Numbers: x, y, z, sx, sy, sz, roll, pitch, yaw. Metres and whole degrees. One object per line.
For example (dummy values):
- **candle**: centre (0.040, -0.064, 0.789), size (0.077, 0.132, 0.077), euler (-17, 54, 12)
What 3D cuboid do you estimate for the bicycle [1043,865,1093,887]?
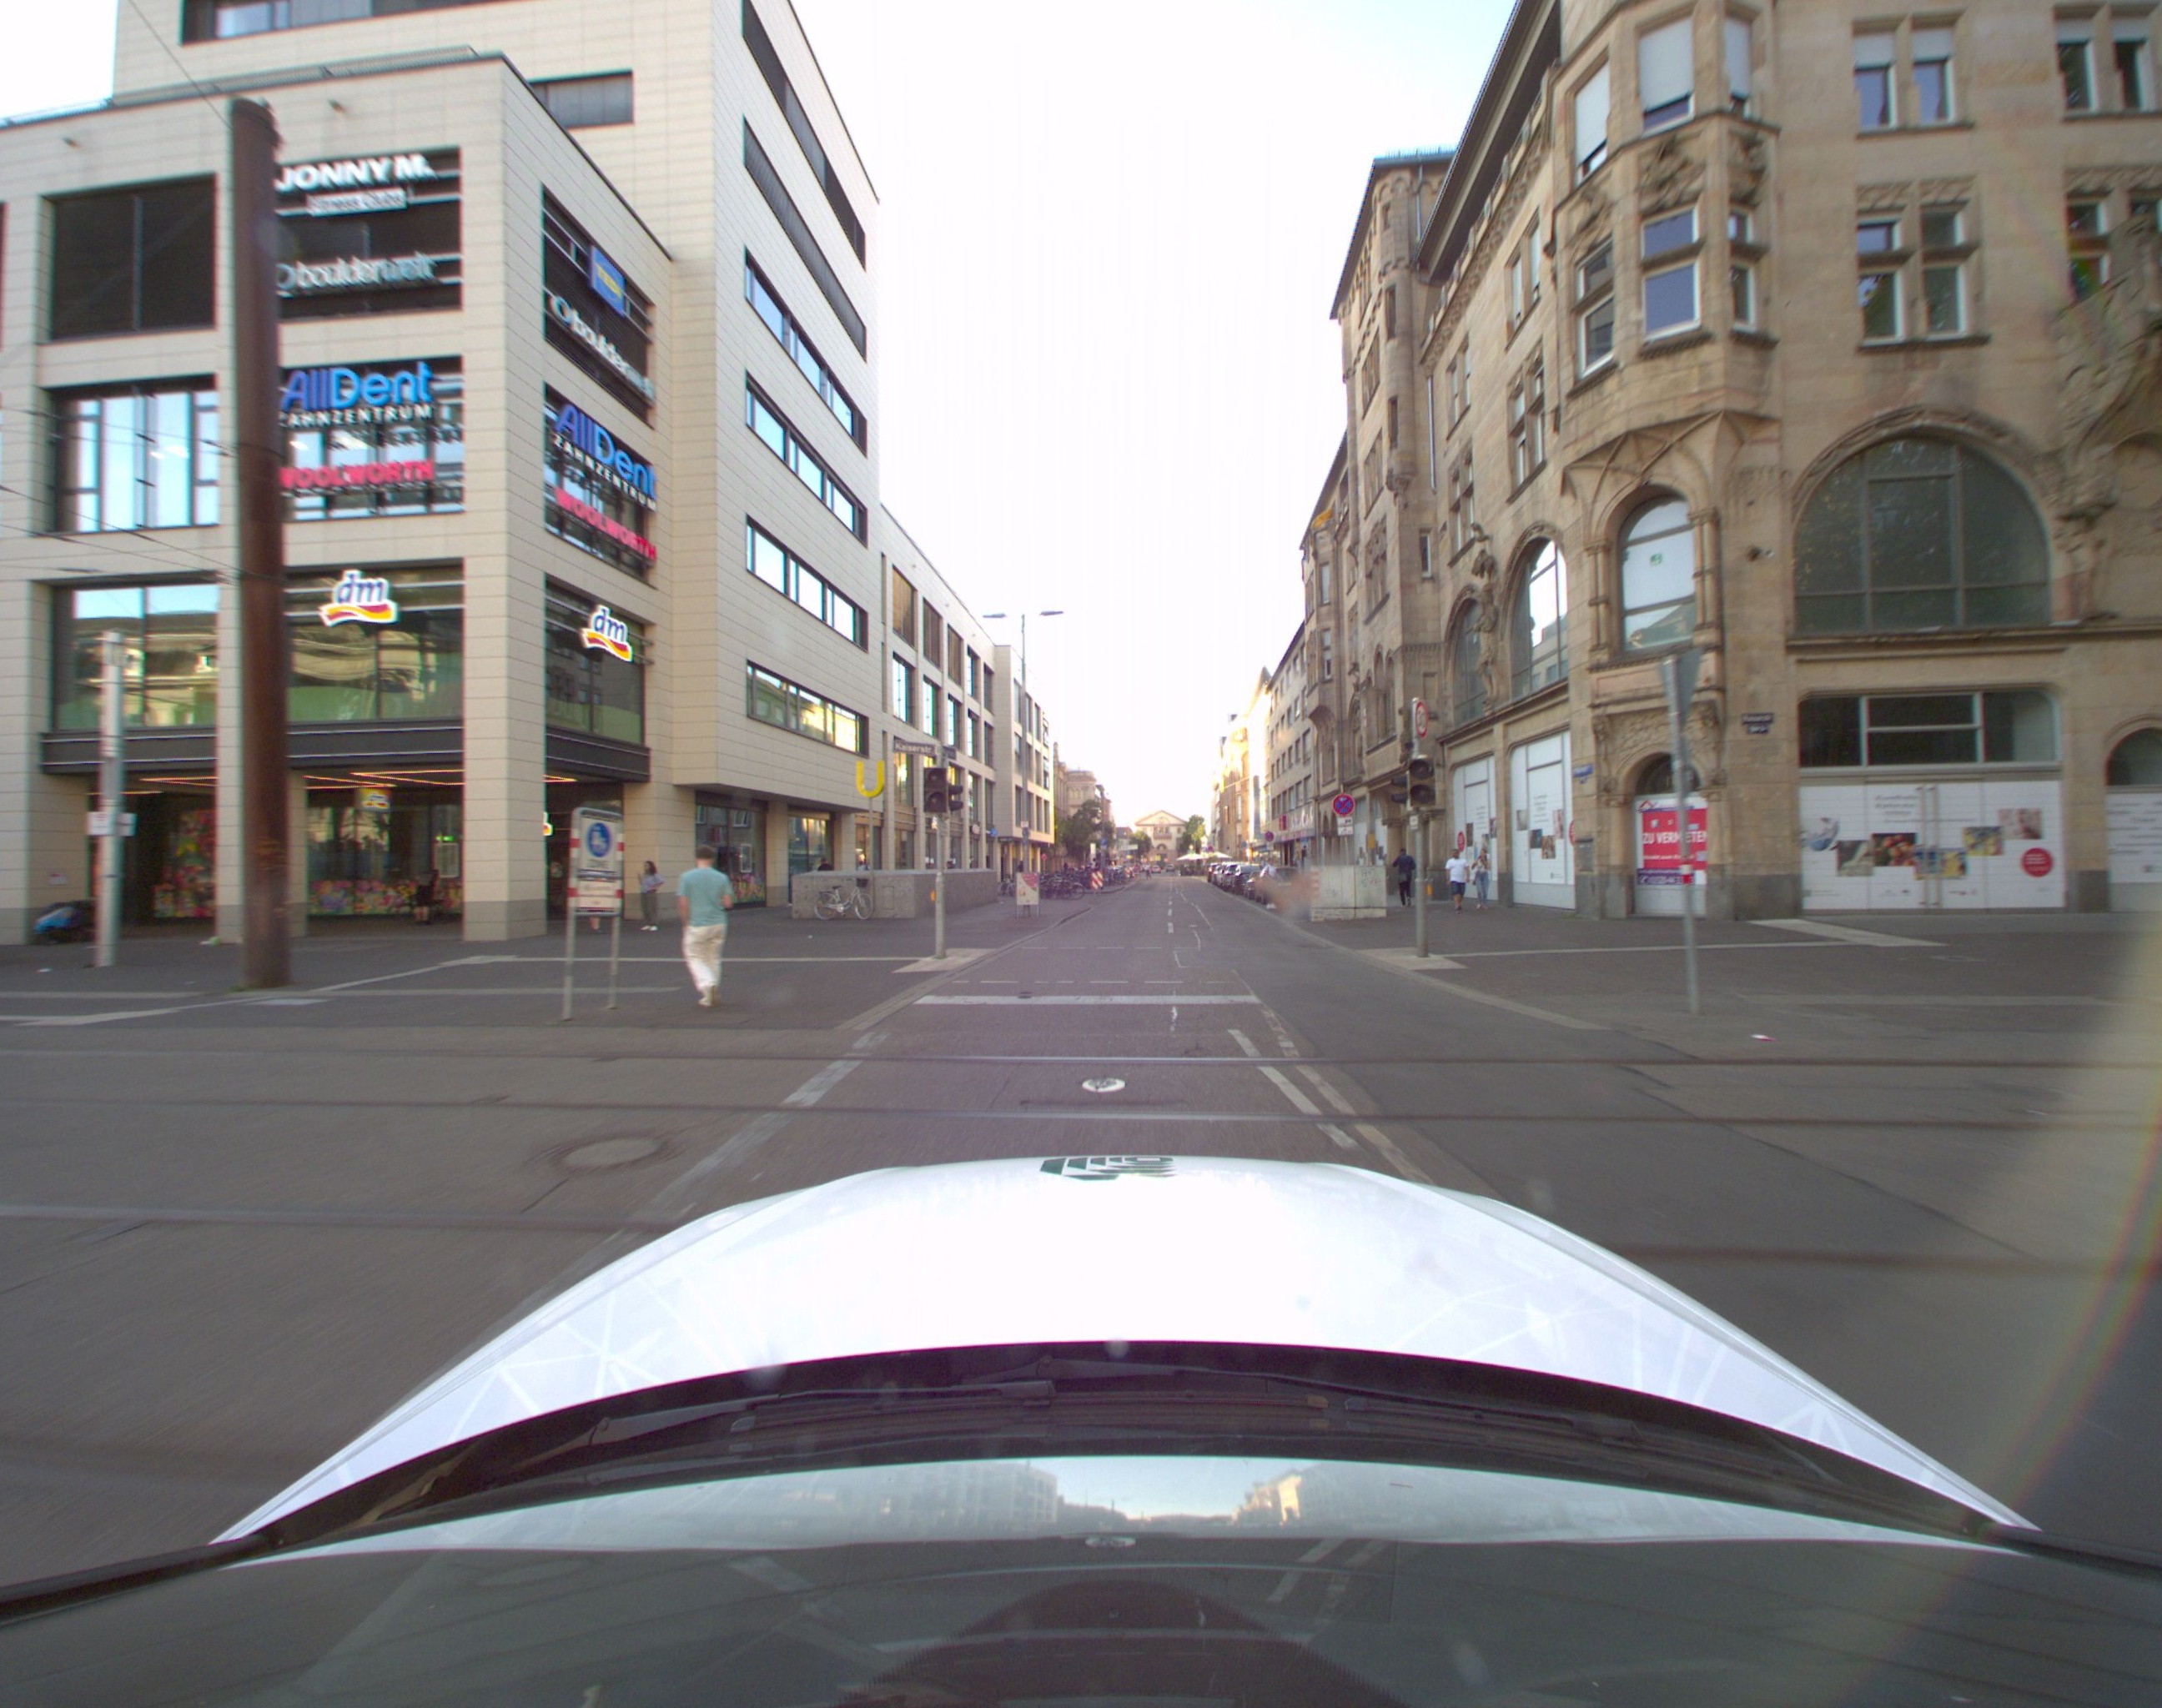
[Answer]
- **bicycle**: centre (-0.787, 1.324, 49.277), size (2.897, 1.255, 0.798), euler (-1, -1, -20)

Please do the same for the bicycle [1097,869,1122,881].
- **bicycle**: centre (2.560, 1.879, 72.786), size (2.136, 1.029, 0.642), euler (-2, -1, 7)

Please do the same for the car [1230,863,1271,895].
- **car**: centre (8.776, 1.288, 42.429), size (1.670, 1.547, 3.679), euler (-3, -1, 6)

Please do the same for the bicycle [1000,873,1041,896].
- **bicycle**: centre (-3.039, 1.511, 40.752), size (1.975, 1.122, 0.554), euler (0, -1, -23)

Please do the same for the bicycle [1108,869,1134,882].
- **bicycle**: centre (3.435, 1.822, 69.295), size (2.136, 1.029, 0.642), euler (-2, -1, 7)

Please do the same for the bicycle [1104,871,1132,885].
- **bicycle**: centre (2.974, 1.903, 64.874), size (2.136, 1.029, 0.642), euler (-2, -1, 7)

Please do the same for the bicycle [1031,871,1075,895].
- **bicycle**: centre (-1.288, 1.333, 37.825), size (1.975, 1.122, 0.554), euler (0, -1, -23)

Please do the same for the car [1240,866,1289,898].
- **car**: centre (8.334, 1.250, 37.332), size (1.670, 1.291, 4.053), euler (-3, -1, 6)

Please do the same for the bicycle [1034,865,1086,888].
- **bicycle**: centre (-1.195, 1.286, 46.854), size (2.897, 1.255, 0.798), euler (-1, -1, -20)

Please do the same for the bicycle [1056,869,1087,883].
- **bicycle**: centre (-0.698, 1.555, 58.866), size (2.136, 0.953, 0.642), euler (-2, -1, 7)

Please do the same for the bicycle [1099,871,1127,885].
- **bicycle**: centre (2.546, 1.892, 64.121), size (2.136, 1.029, 0.642), euler (-2, -1, 7)

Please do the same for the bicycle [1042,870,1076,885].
- **bicycle**: centre (-1.453, 1.582, 54.399), size (2.136, 0.953, 0.642), euler (-2, -1, 7)

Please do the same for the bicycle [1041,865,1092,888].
- **bicycle**: centre (-0.881, 1.309, 48.306), size (2.897, 1.255, 0.798), euler (-1, -1, -20)

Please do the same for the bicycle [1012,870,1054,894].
- **bicycle**: centre (-2.326, 1.360, 39.432), size (1.975, 1.122, 0.554), euler (0, -1, -23)

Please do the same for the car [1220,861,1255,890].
- **car**: centre (9.298, 1.260, 48.679), size (1.670, 1.613, 4.034), euler (-3, -1, 6)

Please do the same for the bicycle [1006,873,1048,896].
- **bicycle**: centre (-2.655, 1.488, 40.080), size (1.975, 1.122, 0.554), euler (0, -1, -23)

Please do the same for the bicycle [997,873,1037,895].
- **bicycle**: centre (-3.270, 1.541, 41.876), size (1.975, 1.122, 0.554), euler (0, -1, -23)

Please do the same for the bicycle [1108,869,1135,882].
- **bicycle**: centre (3.412, 1.811, 68.566), size (2.136, 1.029, 0.642), euler (-2, -1, 7)

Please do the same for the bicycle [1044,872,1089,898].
- **bicycle**: centre (-0.644, 1.385, 36.283), size (1.975, 1.122, 0.554), euler (0, -1, -23)

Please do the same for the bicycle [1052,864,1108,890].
- **bicycle**: centre (-0.052, 1.230, 43.449), size (2.897, 1.255, 0.798), euler (-1, -1, -20)

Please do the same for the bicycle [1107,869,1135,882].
- **bicycle**: centre (3.283, 1.782, 66.762), size (2.136, 1.029, 0.642), euler (-2, -1, 7)

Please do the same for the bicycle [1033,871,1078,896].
- **bicycle**: centre (-1.171, 1.321, 37.091), size (1.975, 1.122, 0.554), euler (0, -1, -23)

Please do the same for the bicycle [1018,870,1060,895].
- **bicycle**: centre (-1.994, 1.349, 38.754), size (1.975, 1.122, 0.554), euler (0, -1, -23)

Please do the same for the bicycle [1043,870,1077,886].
- **bicycle**: centre (-1.348, 1.552, 52.576), size (2.136, 0.953, 0.642), euler (-2, -1, 7)

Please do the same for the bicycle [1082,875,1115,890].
- **bicycle**: centre (1.178, 1.926, 55.488), size (2.136, 0.953, 0.642), euler (-2, -1, 7)

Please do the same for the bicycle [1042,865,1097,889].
- **bicycle**: centre (-0.621, 1.249, 44.596), size (2.897, 1.255, 0.798), euler (-1, -1, -20)

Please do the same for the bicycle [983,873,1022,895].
- **bicycle**: centre (-4.151, 1.560, 43.017), size (1.975, 1.122, 0.554), euler (0, -1, -23)

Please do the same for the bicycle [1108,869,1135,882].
- **bicycle**: centre (3.356, 1.794, 67.530), size (2.136, 1.029, 0.642), euler (-2, -1, 7)

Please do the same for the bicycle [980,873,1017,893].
- **bicycle**: centre (-4.574, 1.596, 45.209), size (1.975, 1.122, 0.554), euler (0, -1, -23)

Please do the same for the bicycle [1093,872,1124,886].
- **bicycle**: centre (2.011, 1.817, 58.644), size (2.136, 0.953, 0.642), euler (-2, -1, 7)

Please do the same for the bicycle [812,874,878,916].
- **bicycle**: centre (-6.520, 1.126, 22.524), size (1.686, 1.122, 0.452), euler (0, -1, 8)
